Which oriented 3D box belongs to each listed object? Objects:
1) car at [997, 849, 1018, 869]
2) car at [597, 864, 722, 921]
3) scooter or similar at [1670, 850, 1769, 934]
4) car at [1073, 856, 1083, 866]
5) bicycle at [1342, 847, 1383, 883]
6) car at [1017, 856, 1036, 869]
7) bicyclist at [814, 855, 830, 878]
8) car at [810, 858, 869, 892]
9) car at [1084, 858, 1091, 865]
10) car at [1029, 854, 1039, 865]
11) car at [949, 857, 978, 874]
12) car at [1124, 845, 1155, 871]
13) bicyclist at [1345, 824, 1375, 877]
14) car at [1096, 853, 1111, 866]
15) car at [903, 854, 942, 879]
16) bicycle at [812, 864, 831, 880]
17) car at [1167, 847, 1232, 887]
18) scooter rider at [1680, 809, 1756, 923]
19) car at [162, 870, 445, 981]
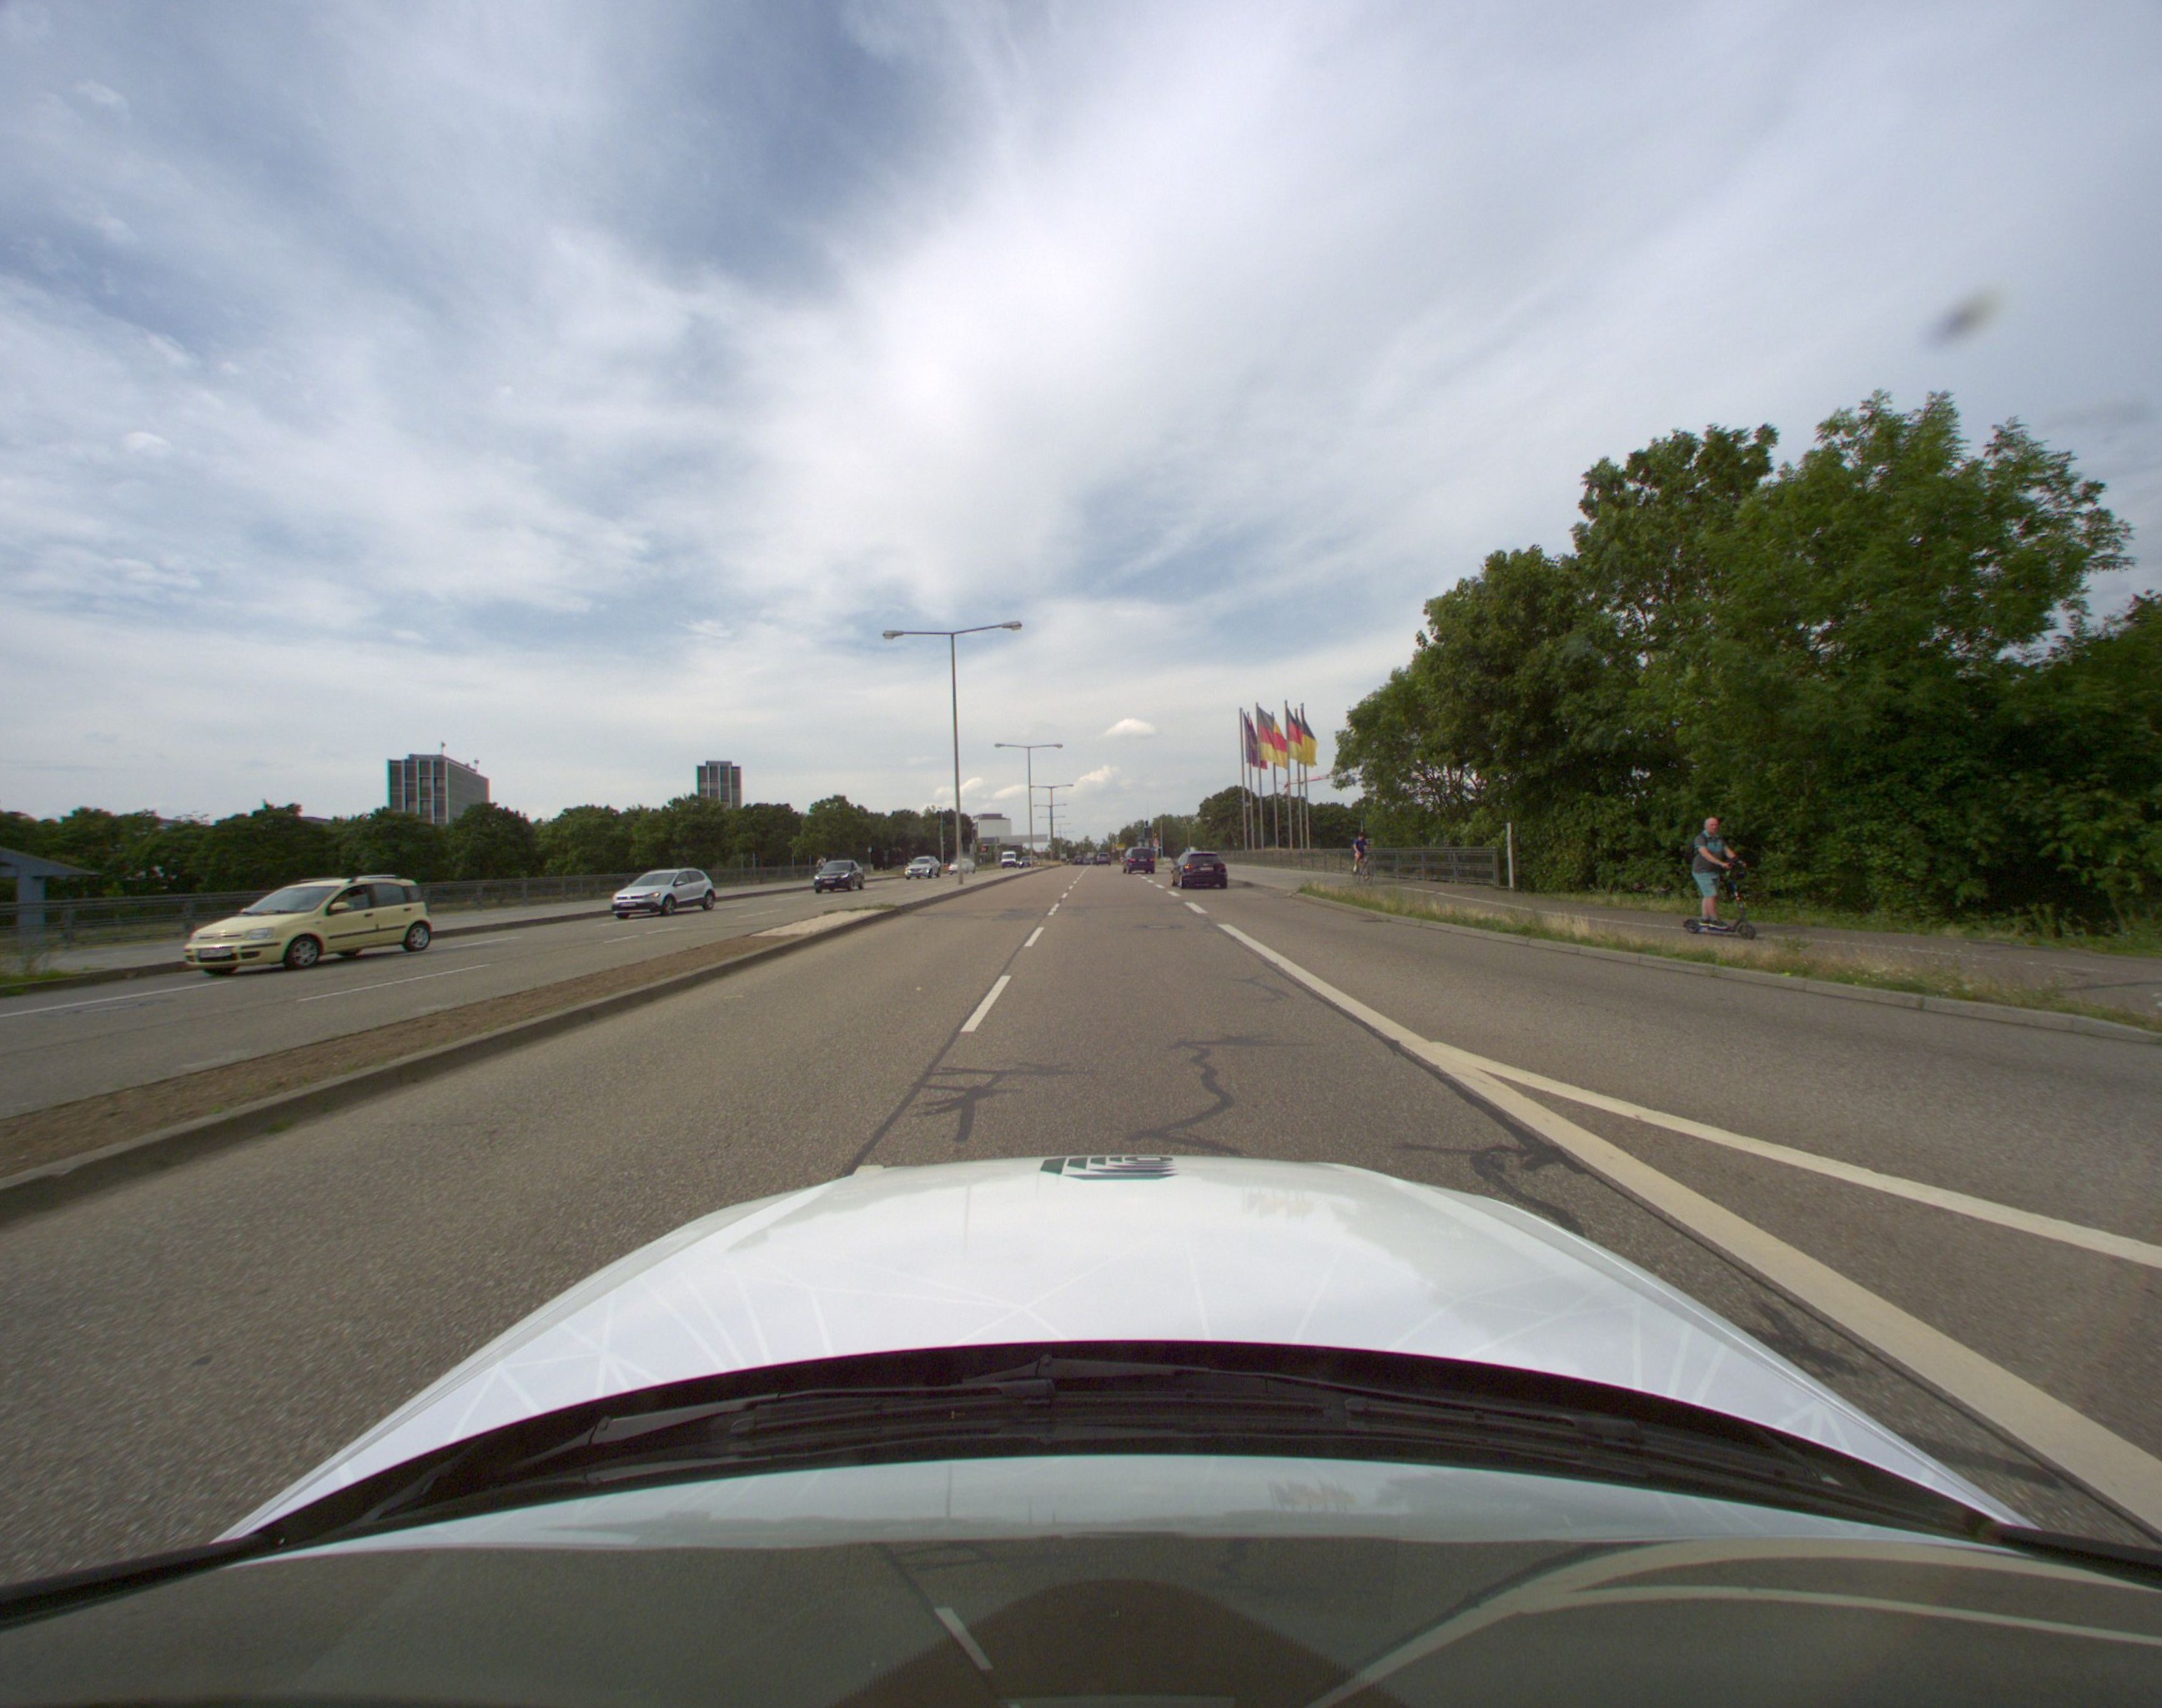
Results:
[{"bbox_3d":[-10.646,0.711,118.701,2.045,2.643,6.404,-3,0,3],"label":"car"},{"bbox_3d":[-13.509,1.171,26.412,1.642,1.515,4.021,-3,1,4],"label":"car"},{"bbox_3d":[9.805,0.564,12.553,0.586,1.224,1.203,-1,0,1],"label":"scooter or similar"},{"bbox_3d":[-0.504,1.298,147.197,1.725,1.653,4.114,-1,-1,0],"label":"car"},{"bbox_3d":[8.849,0.325,25.691,0.575,1.022,1.976,-4,1,1],"label":"bicycle"},{"bbox_3d":[-6.585,1.020,98.846,1.732,1.480,4.776,-3,-1,1],"label":"car"},{"bbox_3d":[-17.944,0.859,56.525,0.793,1.626,0.976,-1,0,-2],"label":"bicyclist"},{"bbox_3d":[-12.214,1.032,41.435,1.735,1.515,4.313,-3,0,-1],"label":"car"},{"bbox_3d":[1.452,1.643,184.800,1.725,1.526,4.114,-1,-1,0],"label":"car"},{"bbox_3d":[-8.507,1.043,147.511,1.534,1.871,3.572,-3,0,2],"label":"car"},{"bbox_3d":[-11.258,1.074,78.409,1.731,1.480,4.476,-3,0,4],"label":"car"},{"bbox_3d":[3.804,0.275,53.683,1.725,1.653,4.114,-1,-1,0],"label":"car"},{"bbox_3d":[8.860,-0.122,25.880,0.662,1.659,0.805,-1,1,0],"label":"bicyclist"},{"bbox_3d":[2.854,0.689,103.202,1.725,1.653,4.114,-1,-1,0],"label":"car"},{"bbox_3d":[-12.080,0.912,62.407,1.856,1.725,4.772,-3,0,2],"label":"car"},{"bbox_3d":[-17.952,1.267,56.424,0.704,1.049,2.058,-1,0,-2],"label":"bicycle"},{"bbox_3d":[4.507,0.488,31.487,1.726,1.395,4.111,-2,-1,-2],"label":"car"},{"bbox_3d":[9.798,0.177,12.551,0.585,1.690,0.744,-1,0,1],"label":"scooter rider"},{"bbox_3d":[-14.012,1.198,15.022,1.543,1.578,3.691,-3,1,1],"label":"car"}]
